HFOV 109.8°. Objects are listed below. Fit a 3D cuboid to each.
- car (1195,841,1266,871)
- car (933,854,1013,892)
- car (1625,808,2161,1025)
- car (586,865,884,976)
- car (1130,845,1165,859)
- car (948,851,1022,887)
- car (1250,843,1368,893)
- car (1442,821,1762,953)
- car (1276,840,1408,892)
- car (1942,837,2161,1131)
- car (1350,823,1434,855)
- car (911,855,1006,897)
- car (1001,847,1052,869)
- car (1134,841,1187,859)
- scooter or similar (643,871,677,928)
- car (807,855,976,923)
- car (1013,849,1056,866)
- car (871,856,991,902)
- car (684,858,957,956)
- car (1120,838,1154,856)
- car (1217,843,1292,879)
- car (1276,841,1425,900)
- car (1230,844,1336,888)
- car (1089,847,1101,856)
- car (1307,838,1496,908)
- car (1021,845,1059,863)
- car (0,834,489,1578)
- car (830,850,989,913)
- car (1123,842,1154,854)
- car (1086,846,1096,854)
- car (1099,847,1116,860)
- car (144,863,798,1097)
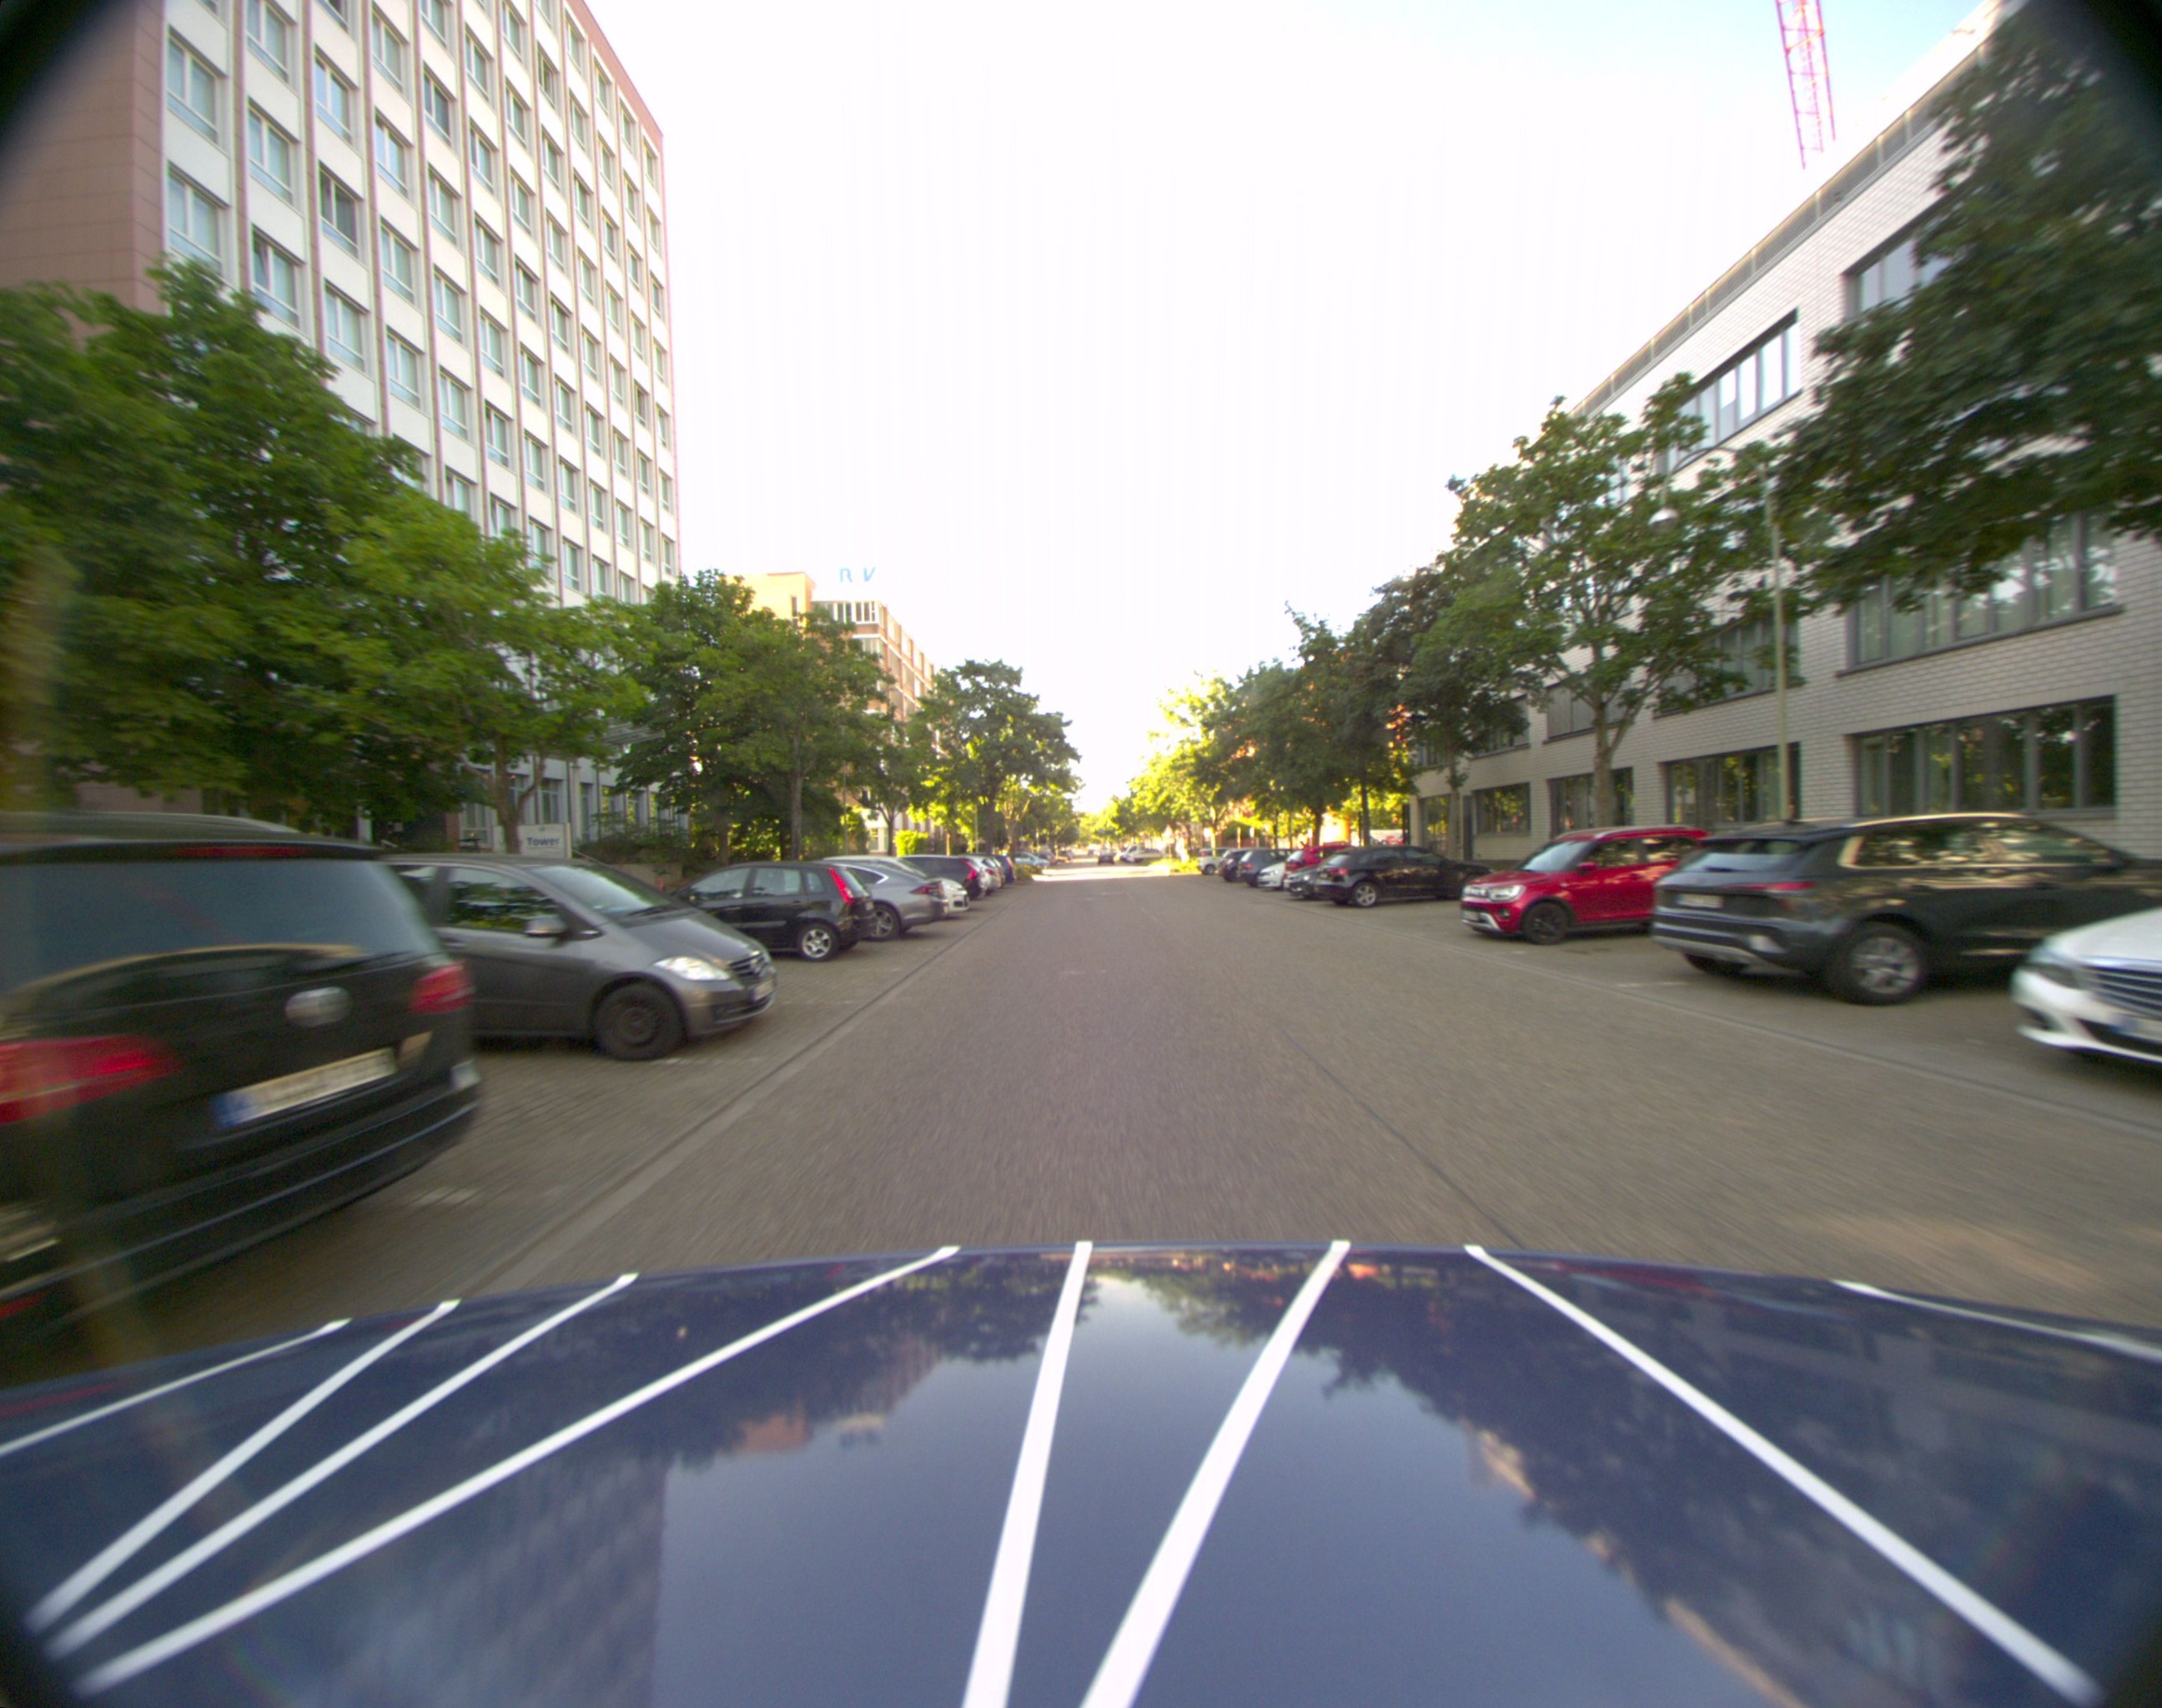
[{"bbox_3d":[8.461,0.096,43.215,3.630,1.499,1.617,-2,1,-2],"label":"car"},{"bbox_3d":[-4.386,0.756,31.069,2.997,1.451,1.497,0,1,3],"label":"car"},{"bbox_3d":[7.795,0.485,7.057,4.122,1.611,1.803,-3,1,2],"label":"car"},{"bbox_3d":[-5.069,0.937,11.549,3.721,1.473,1.723,0,1,-3],"label":"car"},{"bbox_3d":[7.832,-0.295,89.805,3.968,1.463,1.953,-2,1,2],"label":"car"},{"bbox_3d":[-4.287,0.661,34.231,3.053,1.595,1.604,0,1,3],"label":"car"},{"bbox_3d":[7.843,0.458,26.351,3.527,1.521,1.657,-2,1,-1],"label":"car"},{"bbox_3d":[7.622,0.455,11.387,3.581,1.659,1.654,-3,1,3],"label":"car"},{"bbox_3d":[8.197,0.353,24.019,3.539,1.437,1.657,-2,1,-3],"label":"car"},{"bbox_3d":[7.769,0.576,3.982,4.521,1.443,1.940,-3,1,-4],"label":"car"},{"bbox_3d":[22.898,-1.081,56.064,5.329,2.087,1.932,-2,1,-2],"label":"car"},{"bbox_3d":[-4.529,0.789,28.392,3.203,1.471,1.589,0,1,4],"label":"car"},{"bbox_3d":[-4.594,0.334,64.353,4.165,1.696,1.999,-2,1,-2],"label":"car"},{"bbox_3d":[8.078,-0.424,77.697,5.252,1.616,1.953,-2,1,2],"label":"car"},{"bbox_3d":[-9.314,0.981,16.842,0.272,1.180,1.246,-3,1,-13],"label":"scooter or similar"},{"bbox_3d":[-4.419,0.801,18.130,3.582,1.498,1.724,0,1,-1],"label":"car"},{"bbox_3d":[-4.552,0.292,74.393,3.996,1.463,1.953,-2,1,2],"label":"car"},{"bbox_3d":[-5.033,0.832,25.807,3.754,1.444,1.657,-1,1,-2],"label":"car"},{"bbox_3d":[-4.713,0.932,14.264,4.431,1.544,1.859,-2,1,-1],"label":"car"},{"bbox_3d":[7.139,-0.857,97.160,3.997,2.095,1.999,-2,1,-2],"label":"car"},{"bbox_3d":[7.592,0.286,33.354,2.933,1.435,1.389,-2,1,0],"label":"car"},{"bbox_3d":[7.443,0.434,21.204,3.539,1.428,1.657,-2,1,-1],"label":"car"},{"bbox_3d":[7.630,0.436,28.856,3.539,1.498,1.646,-2,1,-1],"label":"car"},{"bbox_3d":[2.559,-0.535,137.726,1.951,1.555,4.000,-1,1,3],"label":"car"},{"bbox_3d":[7.716,0.458,18.543,3.832,1.405,1.687,-3,0,-1],"label":"car"},{"bbox_3d":[-4.494,0.006,82.699,3.998,1.774,1.952,-2,1,-4],"label":"car"},{"bbox_3d":[-4.378,0.825,2.350,3.682,1.741,1.724,0,1,-1],"label":"car"},{"bbox_3d":[-4.611,0.725,20.874,3.983,1.540,1.683,-2,1,-4],"label":"car"},{"bbox_3d":[7.741,-0.807,102.383,3.998,1.406,1.594,-2,1,-2],"label":"car"},{"bbox_3d":[2.028,-0.821,156.729,1.951,1.617,4.000,-2,1,3],"label":"car"},{"bbox_3d":[3.066,-0.119,86.685,1.766,1.365,4.000,-2,1,3],"label":"car"},{"bbox_3d":[-4.643,0.897,6.361,3.881,1.556,1.808,0,1,-5],"label":"car"}]
